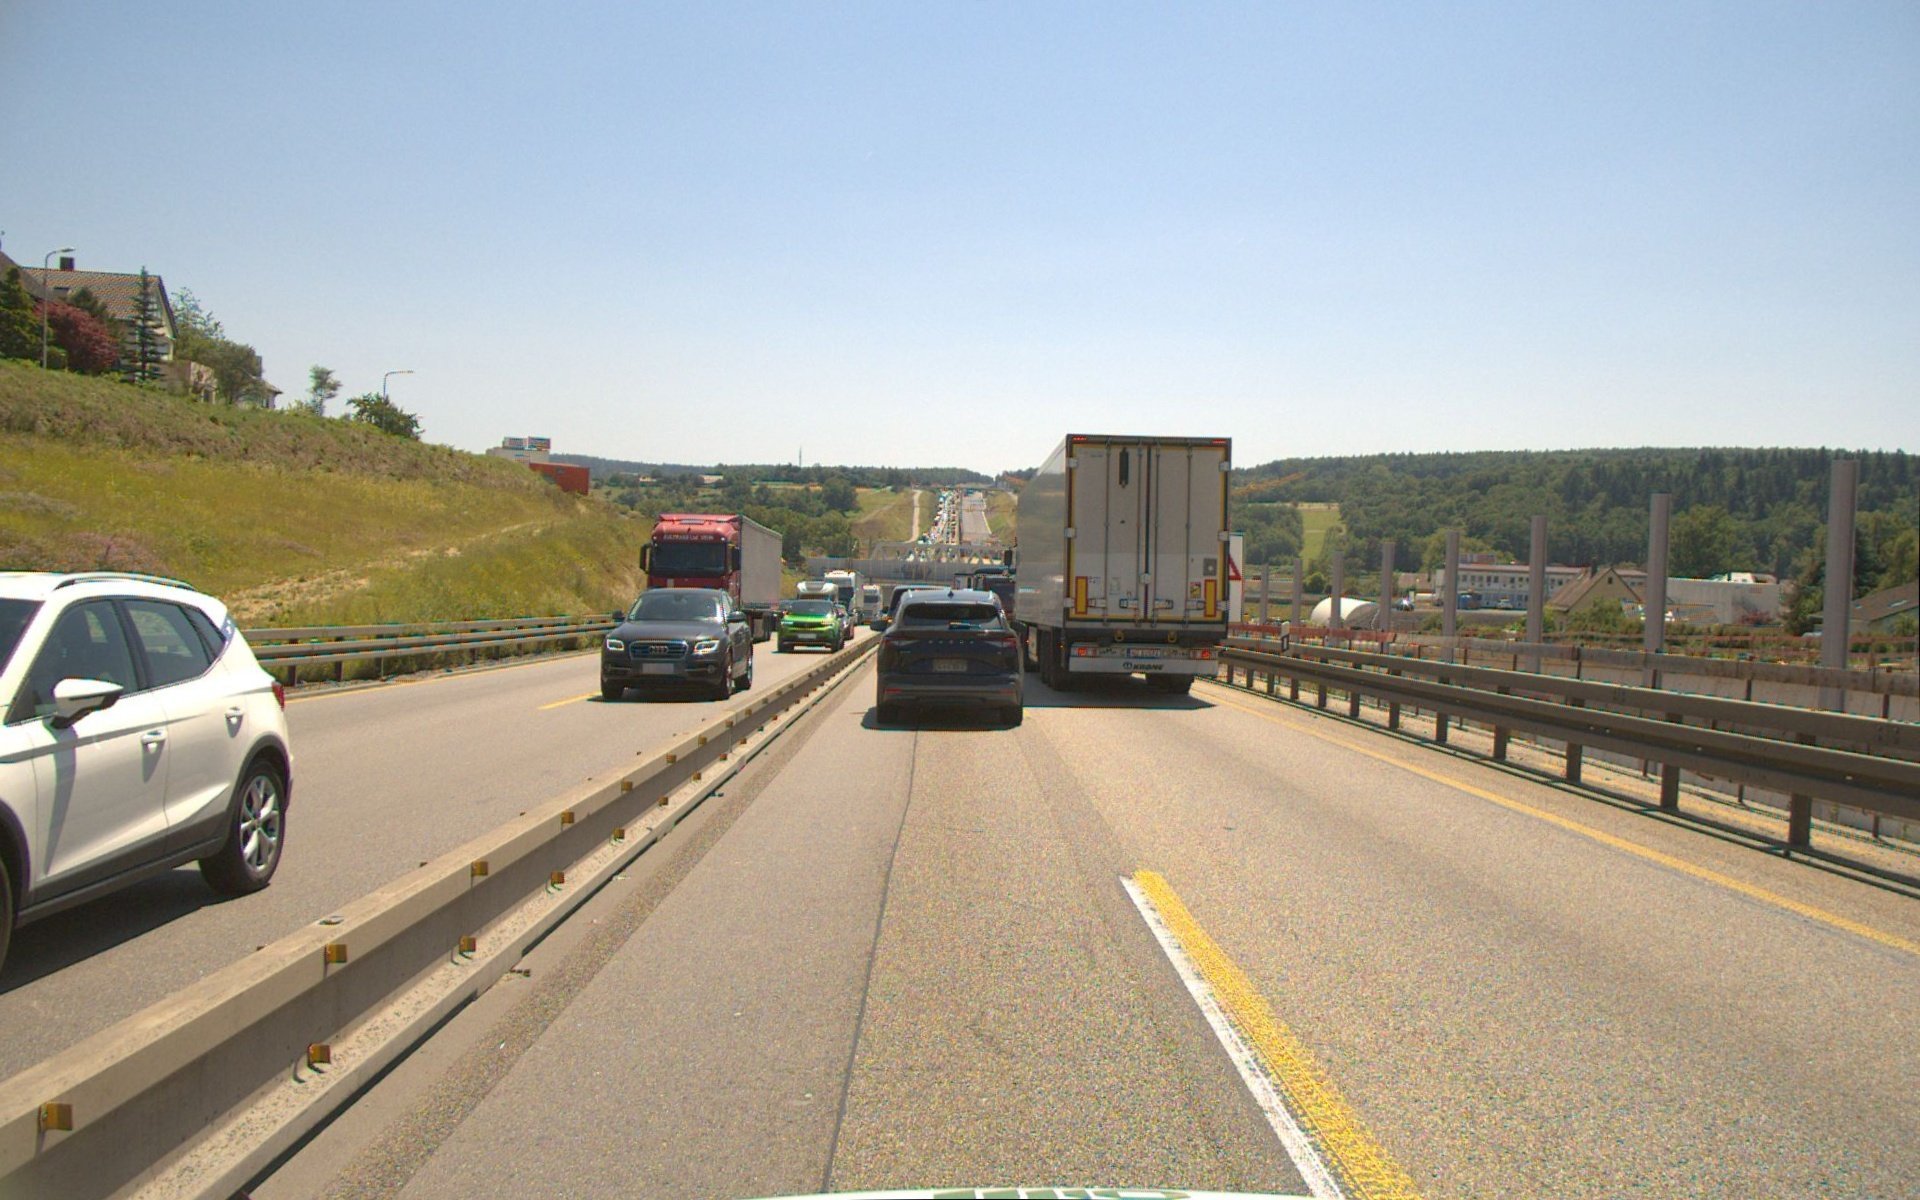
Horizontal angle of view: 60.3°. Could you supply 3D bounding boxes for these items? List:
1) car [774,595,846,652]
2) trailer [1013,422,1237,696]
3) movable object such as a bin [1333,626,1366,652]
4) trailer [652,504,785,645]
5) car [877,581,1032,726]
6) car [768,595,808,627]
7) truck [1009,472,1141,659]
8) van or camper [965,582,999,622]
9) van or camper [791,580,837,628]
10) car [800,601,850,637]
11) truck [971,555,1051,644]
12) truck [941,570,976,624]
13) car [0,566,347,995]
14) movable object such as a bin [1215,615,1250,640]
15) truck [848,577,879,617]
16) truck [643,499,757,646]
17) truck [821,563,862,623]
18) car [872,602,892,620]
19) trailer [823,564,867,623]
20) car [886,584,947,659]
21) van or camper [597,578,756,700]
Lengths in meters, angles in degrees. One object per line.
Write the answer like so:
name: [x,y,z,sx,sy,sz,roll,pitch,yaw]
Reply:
car: [-4.334,0.654,48.273,1.718,1.534,3.999,2,0,-1]
trailer: [2.740,-0.522,32.124,2.744,4.130,14.113,0,-1,-1]
movable object such as a bin: [34.526,3.439,146.745,1.953,2.278,4.151,1,-1,0]
trailer: [-7.991,-0.777,56.551,2.799,4.196,13.433,1,0,-1]
car: [-0.084,0.620,20.835,1.764,1.649,3.297,1,0,-1]
car: [-8.948,0.560,86.303,1.682,1.579,4.263,0,0,-1]
truck: [2.626,-0.732,39.165,2.720,4.130,4.903,0,-1,-1]
van or camper: [1.312,0.125,100.039,1.953,2.284,3.999,2,0,-1]
van or camper: [-8.928,0.255,101.659,2.287,2.826,7.514,1,0,-1]
car: [-5.365,0.745,66.167,1.732,1.386,4.410,1,0,-1]
truck: [1.884,0.077,66.187,2.756,3.190,12.835,0,-1,0]
truck: [-0.164,-0.226,128.702,2.467,4.028,7.597,2,0,-1]
car: [-4.183,0.619,6.840,1.639,1.502,4.540,1,0,-1]
movable object such as a bin: [34.102,3.396,207.352,2.828,2.960,9.477,1,-1,0]
truck: [-10.475,-0.324,180.263,3.173,4.233,4.246,1,-1,-1]
truck: [-7.807,-0.790,50.165,2.764,4.196,4.597,1,0,-1]
truck: [-8.835,-0.519,123.528,2.718,4.362,4.675,1,0,-2]
car: [-6.566,0.916,139.438,1.596,1.505,3.379,1,0,-2]
trailer: [-9.008,-0.495,130.901,2.753,4.362,14.030,1,0,-1]
car: [-1.096,0.527,42.443,1.445,1.826,3.297,1,0,-1]
van or camper: [-4.262,0.551,25.415,1.791,1.697,3.887,1,0,-1]
